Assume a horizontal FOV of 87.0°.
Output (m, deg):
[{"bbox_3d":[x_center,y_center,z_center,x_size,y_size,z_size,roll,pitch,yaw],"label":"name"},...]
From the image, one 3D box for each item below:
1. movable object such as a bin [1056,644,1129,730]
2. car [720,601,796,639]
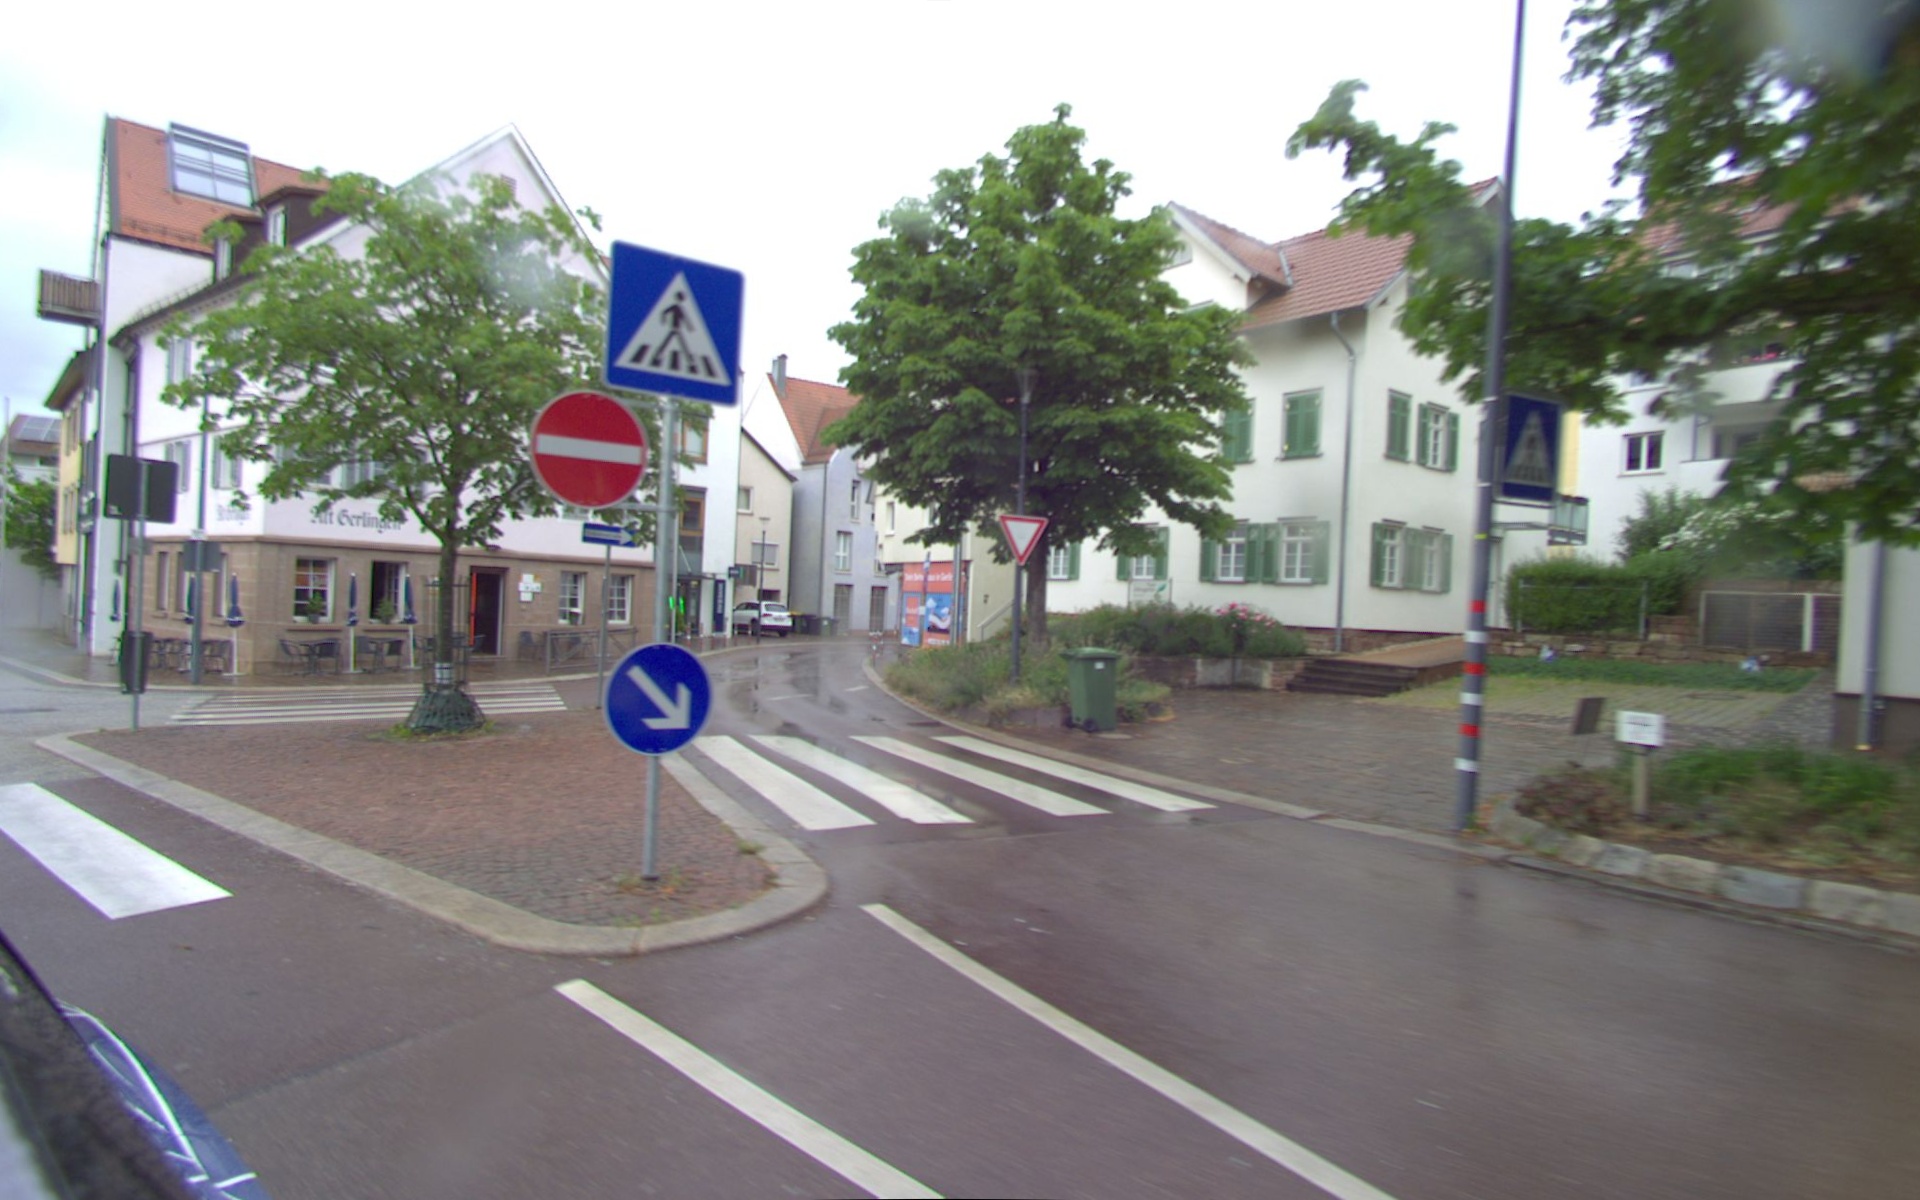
[{"bbox_3d":[1.726,1.125,13.218,0.625,1.067,0.700,3,-2,-25],"label":"movable object such as a bin"},{"bbox_3d":[-9.814,0.947,48.996,1.802,1.634,3.895,4,-2,-42],"label":"car"}]
